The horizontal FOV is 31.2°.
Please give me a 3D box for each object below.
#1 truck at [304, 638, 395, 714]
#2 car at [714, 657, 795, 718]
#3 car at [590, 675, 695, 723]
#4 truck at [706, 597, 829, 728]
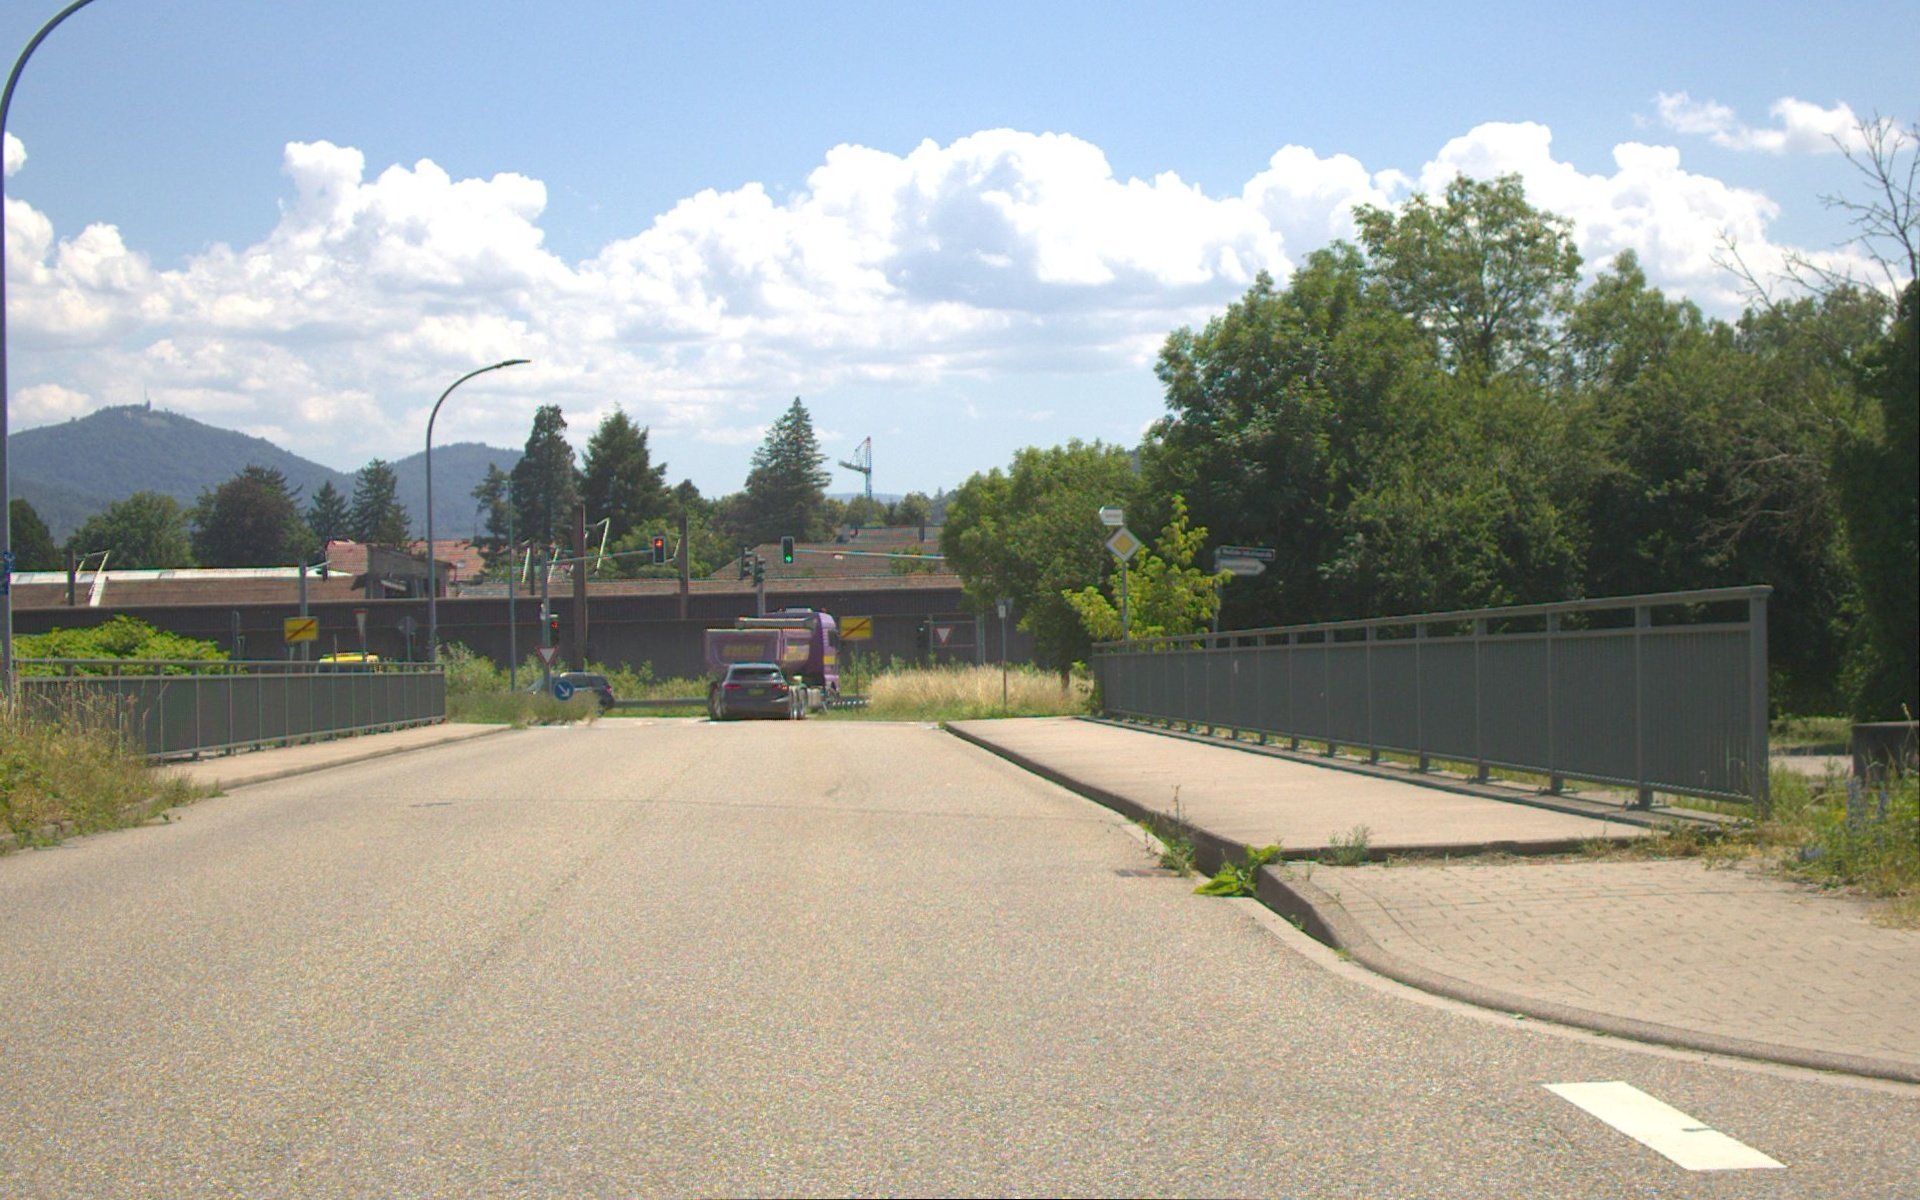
[{"bbox_3d":[-20.532,2.602,115.328,2.310,2.330,9.052,-3,-1,-14],"label":"truck"},{"bbox_3d":[-5.371,2.262,89.473,1.993,1.498,4.000,0,0,-5],"label":"car"},{"bbox_3d":[-12.667,3.940,137.286,3.987,1.696,1.908,-1,2,-1],"label":"car"},{"bbox_3d":[-6.383,2.159,115.692,2.996,4.166,11.805,0,-1,2],"label":"truck"}]
